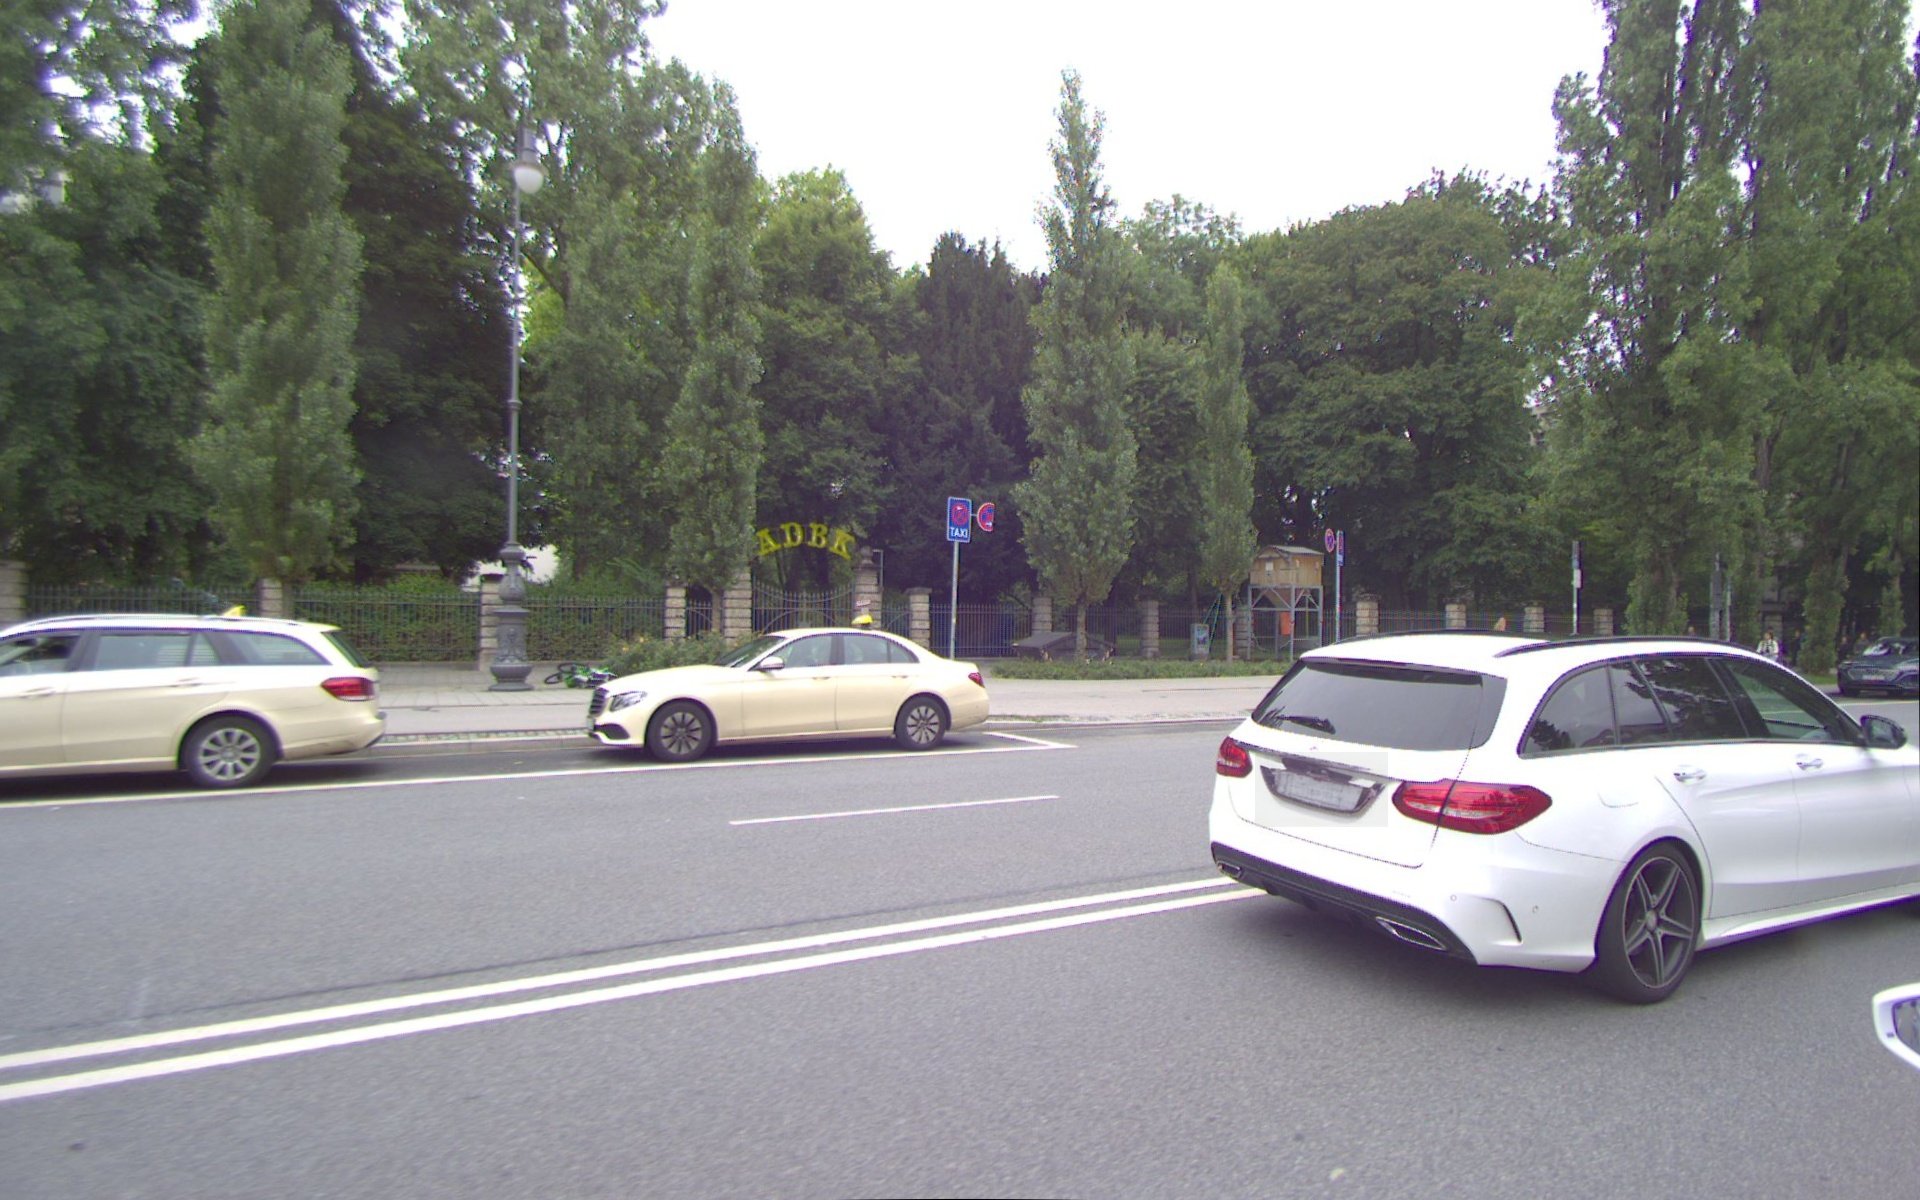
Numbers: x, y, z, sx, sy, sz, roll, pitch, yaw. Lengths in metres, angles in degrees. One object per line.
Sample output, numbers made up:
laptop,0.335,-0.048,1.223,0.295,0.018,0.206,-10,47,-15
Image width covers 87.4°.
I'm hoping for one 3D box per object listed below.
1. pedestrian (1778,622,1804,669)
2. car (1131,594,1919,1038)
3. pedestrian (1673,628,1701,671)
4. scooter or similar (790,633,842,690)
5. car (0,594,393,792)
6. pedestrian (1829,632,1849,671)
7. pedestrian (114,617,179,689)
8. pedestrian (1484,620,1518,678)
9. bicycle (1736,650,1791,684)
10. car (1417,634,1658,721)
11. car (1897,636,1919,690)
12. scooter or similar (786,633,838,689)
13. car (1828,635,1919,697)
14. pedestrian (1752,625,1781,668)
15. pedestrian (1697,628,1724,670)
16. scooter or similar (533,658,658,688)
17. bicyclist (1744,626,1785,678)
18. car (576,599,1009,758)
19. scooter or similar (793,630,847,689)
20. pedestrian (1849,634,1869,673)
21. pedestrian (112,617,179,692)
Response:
pedestrian,36.850,2.005,44.534,0.631,2.040,0.663,2,0,-29
car,3.280,0.791,5.196,4.523,1.474,1.819,2,0,-27
pedestrian,28.588,1.941,39.496,0.695,1.682,0.616,2,0,-28
scooter or similar,-3.182,1.355,22.190,1.108,1.217,0.242,2,-1,-29
car,-7.851,0.785,8.938,4.800,1.579,1.811,2,-3,-29
pedestrian,40.086,2.353,45.796,0.562,1.730,0.506,2,0,-28
pedestrian,-15.761,1.009,19.477,0.568,1.355,0.838,0,-1,35
pedestrian,16.691,1.513,31.013,0.777,1.743,0.580,2,0,-30
bicycle,24.020,1.997,30.016,1.714,0.951,0.704,2,0,-30
car,11.378,1.442,19.736,4.730,1.517,1.923,1,-1,-28
car,31.027,1.950,30.919,4.598,1.605,1.882,2,-2,-29
scooter or similar,-3.300,1.354,22.424,1.108,1.217,0.242,2,-1,-29
car,26.408,1.816,28.068,4.557,1.617,1.775,2,-3,-29
pedestrian,36.209,2.076,45.092,0.748,1.879,0.744,2,0,-28
pedestrian,31.747,2.069,42.509,0.724,1.745,0.664,1,-1,-27
scooter or similar,-7.829,1.553,21.624,2.193,0.525,1.332,0,-1,21
bicyclist,24.051,1.557,30.025,0.851,1.518,0.690,1,-1,-30
car,-1.988,0.928,12.404,4.905,1.645,1.929,3,-2,-29
scooter or similar,-3.059,1.303,21.949,1.126,1.258,0.257,2,-1,-28
pedestrian,40.506,2.403,45.264,0.562,1.730,0.506,2,0,-28
pedestrian,-15.341,1.015,18.917,0.568,1.355,0.837,0,-1,35
